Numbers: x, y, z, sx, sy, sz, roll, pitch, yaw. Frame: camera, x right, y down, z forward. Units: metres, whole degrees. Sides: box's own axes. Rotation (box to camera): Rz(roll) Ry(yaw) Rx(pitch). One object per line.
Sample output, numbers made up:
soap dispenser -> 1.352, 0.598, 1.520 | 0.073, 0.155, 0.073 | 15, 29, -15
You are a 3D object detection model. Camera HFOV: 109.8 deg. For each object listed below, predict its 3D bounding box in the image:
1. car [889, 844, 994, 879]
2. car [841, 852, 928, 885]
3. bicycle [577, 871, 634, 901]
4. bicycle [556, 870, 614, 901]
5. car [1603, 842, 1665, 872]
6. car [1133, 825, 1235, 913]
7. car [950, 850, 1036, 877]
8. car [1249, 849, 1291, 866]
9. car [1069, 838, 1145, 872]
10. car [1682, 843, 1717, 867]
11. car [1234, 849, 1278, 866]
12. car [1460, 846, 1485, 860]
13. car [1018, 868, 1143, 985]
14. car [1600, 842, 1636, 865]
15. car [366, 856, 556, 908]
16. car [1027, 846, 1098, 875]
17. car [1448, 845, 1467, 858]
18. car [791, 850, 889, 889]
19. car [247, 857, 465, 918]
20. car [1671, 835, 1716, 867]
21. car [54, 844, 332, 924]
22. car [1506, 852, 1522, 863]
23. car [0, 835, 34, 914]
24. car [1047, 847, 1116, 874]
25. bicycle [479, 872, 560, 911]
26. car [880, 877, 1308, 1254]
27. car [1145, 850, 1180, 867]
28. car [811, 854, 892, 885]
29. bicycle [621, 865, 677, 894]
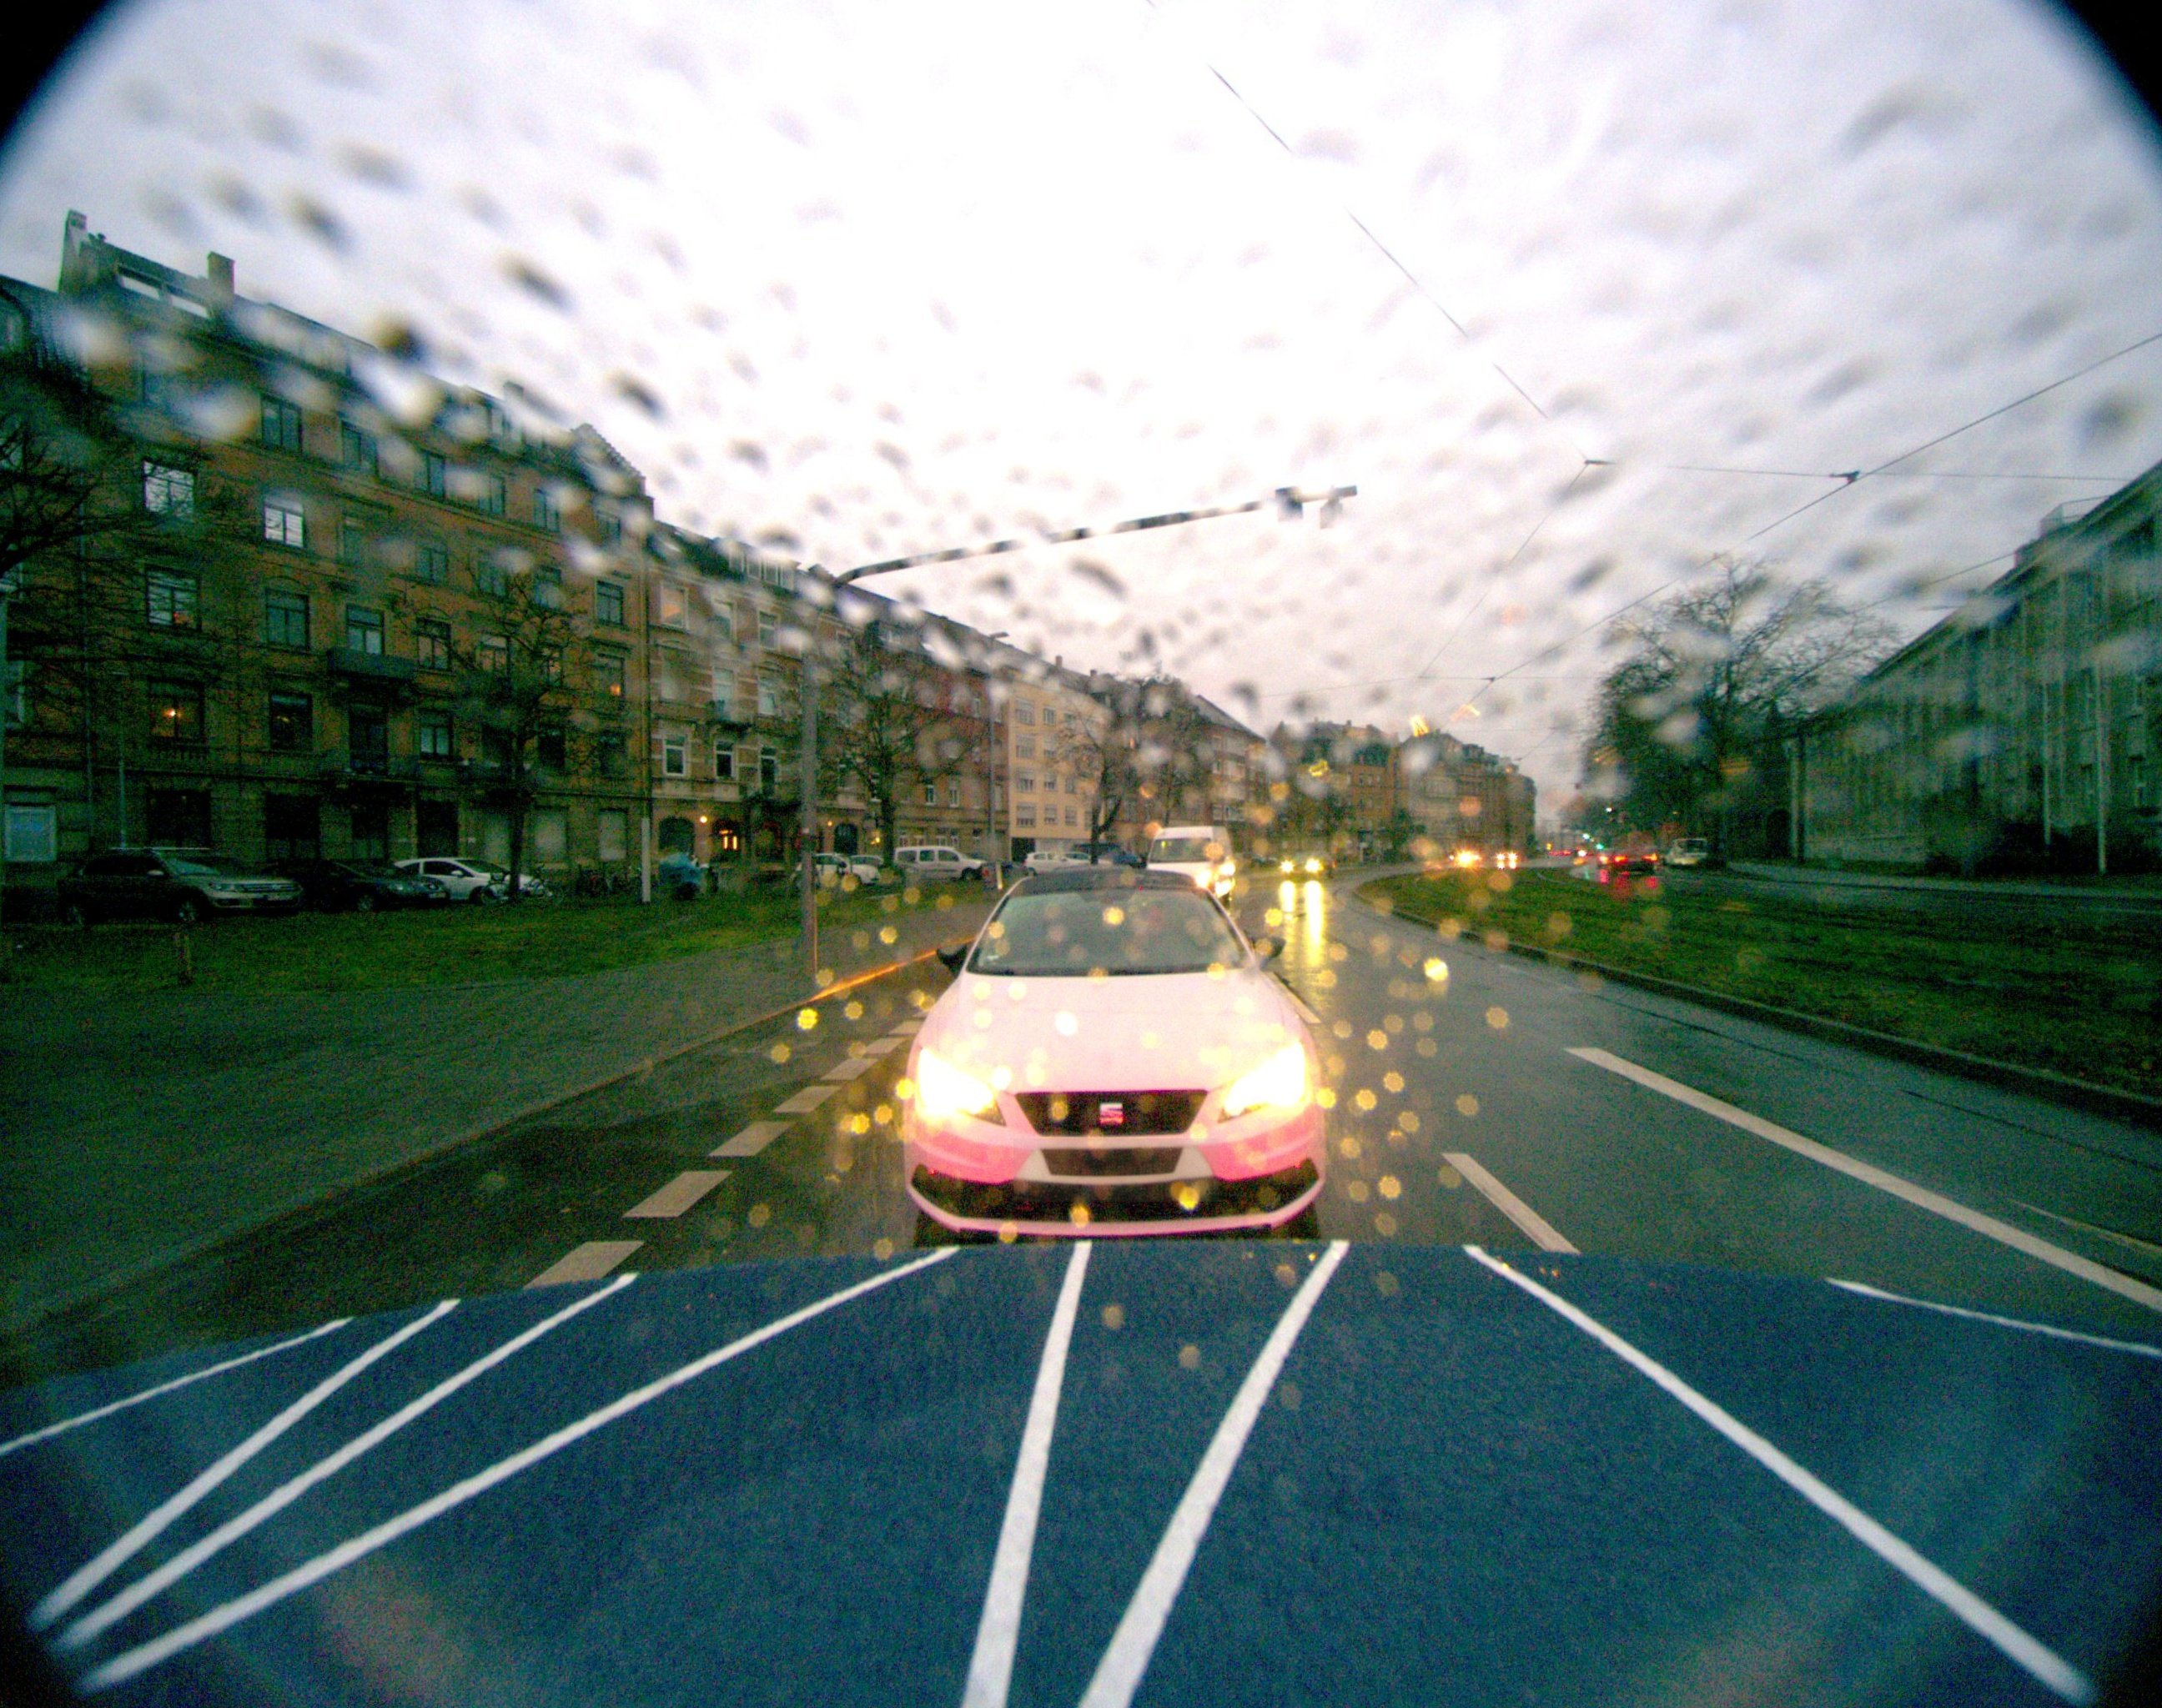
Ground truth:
car -> -6.676, 0.327, 36.541 | 4.659, 1.583, 1.778 | 1, 1, 3
car -> -8.802, 0.653, 34.161 | 3.430, 1.343, 1.664 | -2, 0, 2
bicycle -> -15.896, 1.063, 25.382 | 2.165, 0.960, 0.627 | -2, -2, 28
bicycle -> -16.200, 1.043, 24.799 | 2.165, 0.960, 0.627 | -2, -2, 28
car -> 29.265, 0.119, 40.351 | 1.658, 1.392, 4.530 | -3, 0, 23
car -> 3.340, 0.396, 23.490 | 2.126, 2.366, 5.645 | -2, 0, 17
car -> -4.463, 0.482, 38.796 | 4.058, 1.227, 1.771 | 1, 0, 6
car -> 18.012, 0.329, 72.448 | 3.760, 1.346, 1.603 | -3, 0, 11
car -> 1.610, 0.063, 48.500 | 4.720, 1.971, 1.799 | -2, 0, -2
car -> 39.367, 0.073, 48.380 | 1.557, 1.420, 2.960 | -1, 1, 36
car -> 15.895, 0.289, 69.210 | 3.760, 1.346, 1.603 | -3, 0, 11
car -> 43.157, -0.128, 83.748 | 1.892, 1.405, 3.955 | 0, 0, 35
car -> 0.099, 0.964, 11.287 | 1.589, 1.418, 3.135 | -1, 0, 4
car -> 38.016, -0.073, 53.881 | 1.822, 1.426, 4.664 | -3, 0, 32
car -> -17.156, 0.745, 21.168 | 3.856, 1.329, 1.698 | -1, 0, -1
car -> -1.031, 0.389, 43.704 | 3.770, 1.424, 1.762 | -3, 0, 9
car -> 46.600, -0.296, 94.058 | 1.719, 1.608, 3.946 | -1, 0, 32
car -> -9.991, 0.639, 31.666 | 3.462, 1.435, 1.615 | -2, 0, 6
car -> -17.935, 0.811, 18.931 | 3.742, 1.346, 1.677 | -2, -1, -2
car -> 41.920, -0.232, 52.072 | 1.995, 2.002, 4.518 | -3, 0, 35
car -> -19.484, 0.608, 16.804 | 3.996, 1.627, 1.944 | 0, 1, 4
car -> 61.017, 0.469, 107.014 | 1.836, 1.477, 3.528 | -1, 0, 28
car -> -29.099, 0.524, 17.949 | 1.994, 2.002, 4.997 | 1, 1, 33
car -> 0.016, 0.390, 45.791 | 3.998, 1.406, 1.641 | -3, 0, -2
bicycle -> -14.426, 0.945, 19.563 | 1.655, 0.931, 0.513 | 0, 0, -35
car -> 0.169, 0.952, 5.001 | 1.714, 1.404, 3.680 | -3, 0, 4
car -> 7.697, 0.414, 71.749 | 1.470, 1.534, 3.880 | 0, 1, 38
car -> -12.631, 0.844, 41.999 | 1.733, 1.492, 4.058 | -3, -1, 32
bicycle -> -15.021, 0.857, 26.381 | 2.165, 0.960, 0.627 | 0, 1, 28
